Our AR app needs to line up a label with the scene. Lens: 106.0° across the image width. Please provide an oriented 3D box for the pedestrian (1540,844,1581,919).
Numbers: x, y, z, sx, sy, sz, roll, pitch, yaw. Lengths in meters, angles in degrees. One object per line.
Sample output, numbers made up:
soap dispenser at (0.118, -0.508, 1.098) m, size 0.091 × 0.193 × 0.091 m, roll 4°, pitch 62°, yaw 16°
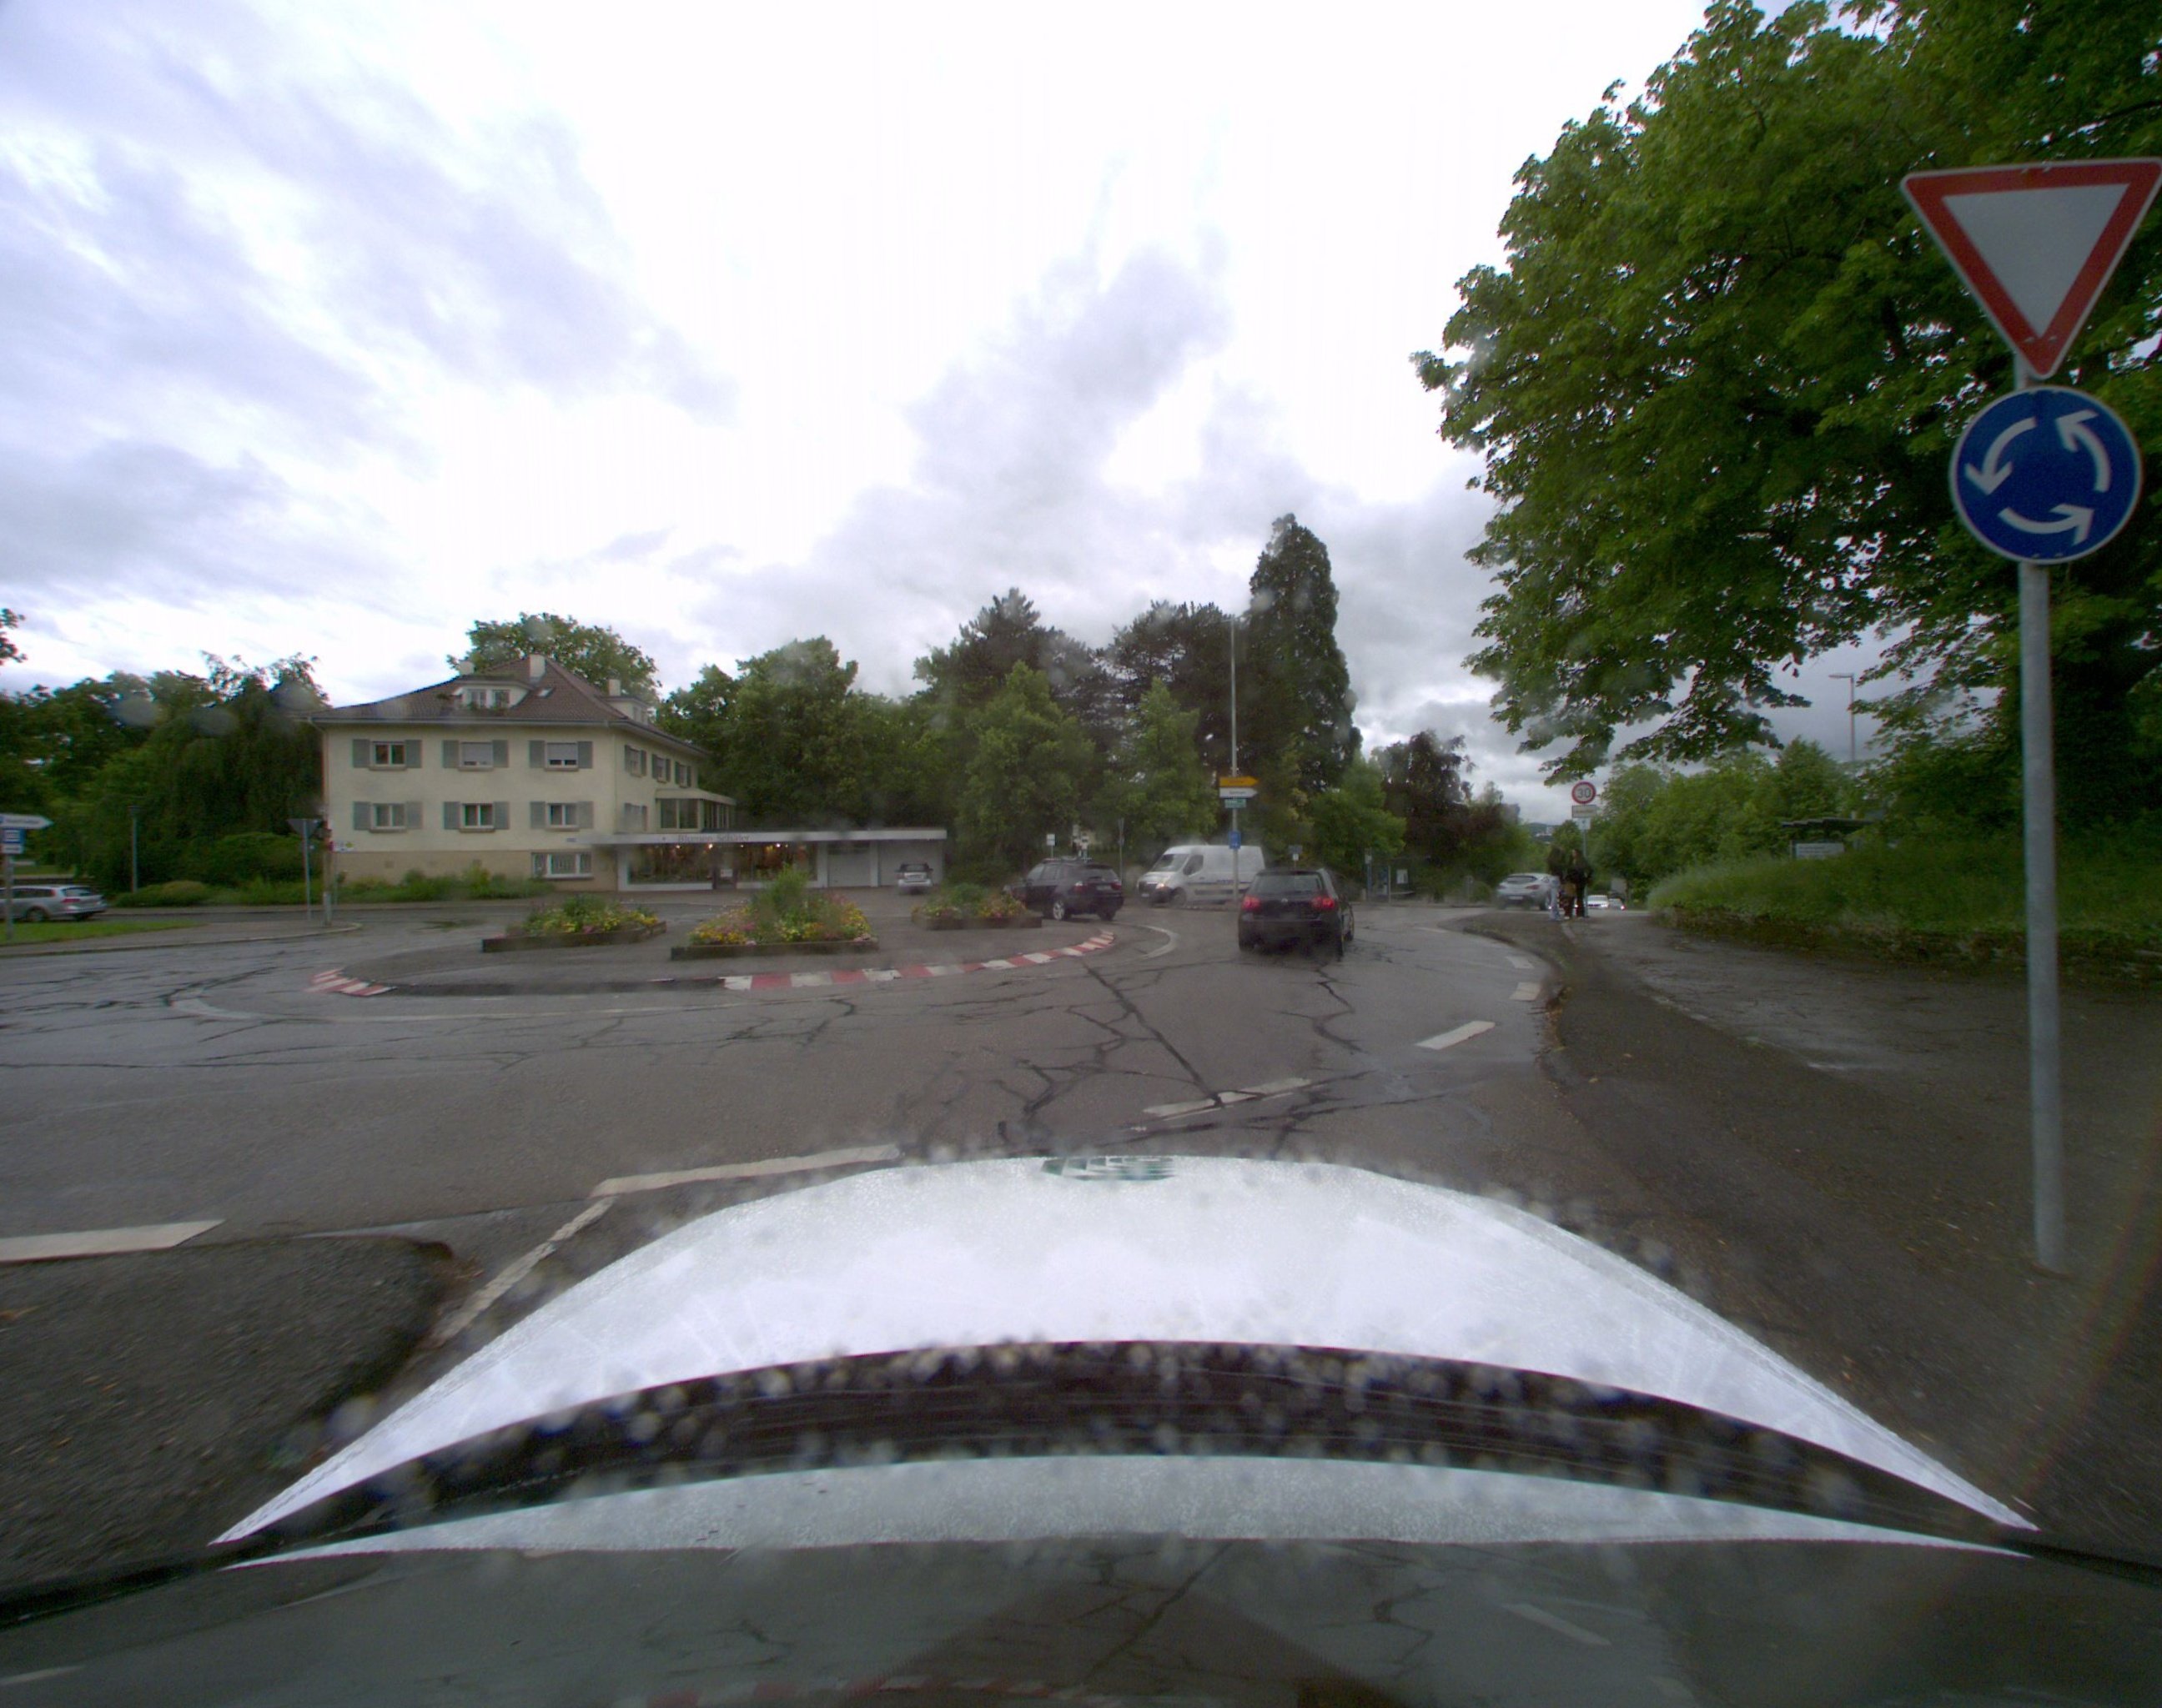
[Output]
pedestrian at (11.270, 0.641, 19.161) m, size 0.529 × 1.713 × 0.632 m, roll 1°, pitch -2°, yaw -18°

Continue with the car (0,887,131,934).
car at (-41.067, 2.220, 32.148) m, size 4.136 × 1.741 × 1.990 m, roll 1°, pitch -1°, yaw -15°

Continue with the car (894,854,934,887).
car at (-8.183, 0.781, 40.164) m, size 1.813 × 1.486 × 3.817 m, roll -2°, pitch 0°, yaw -10°

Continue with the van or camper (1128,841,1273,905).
van or camper at (4.850, 0.771, 32.612) m, size 5.688 × 2.378 × 2.179 m, roll 1°, pitch -2°, yaw -32°

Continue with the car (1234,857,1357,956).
car at (4.075, 0.833, 15.009) m, size 1.750 × 1.538 × 4.021 m, roll 0°, pitch 0°, yaw 21°

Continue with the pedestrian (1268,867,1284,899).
pedestrian at (10.436, 1.540, 43.583) m, size 0.732 × 1.725 × 0.820 m, roll 0°, pitch -2°, yaw 18°

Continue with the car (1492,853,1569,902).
car at (17.941, 0.907, 32.400) m, size 1.748 × 1.801 × 4.272 m, roll -3°, pitch -1°, yaw 41°

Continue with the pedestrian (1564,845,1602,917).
pedestrian at (12.094, 0.638, 19.627) m, size 0.629 × 1.713 × 0.531 m, roll 0°, pitch -2°, yaw 13°

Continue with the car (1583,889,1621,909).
car at (39.446, 3.417, 61.646) m, size 1.890 × 1.393 × 4.542 m, roll 0°, pitch -3°, yaw 40°

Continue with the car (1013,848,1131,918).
car at (-0.368, 0.814, 23.500) m, size 1.773 × 1.801 × 4.210 m, roll -1°, pitch -1°, yaw -25°
